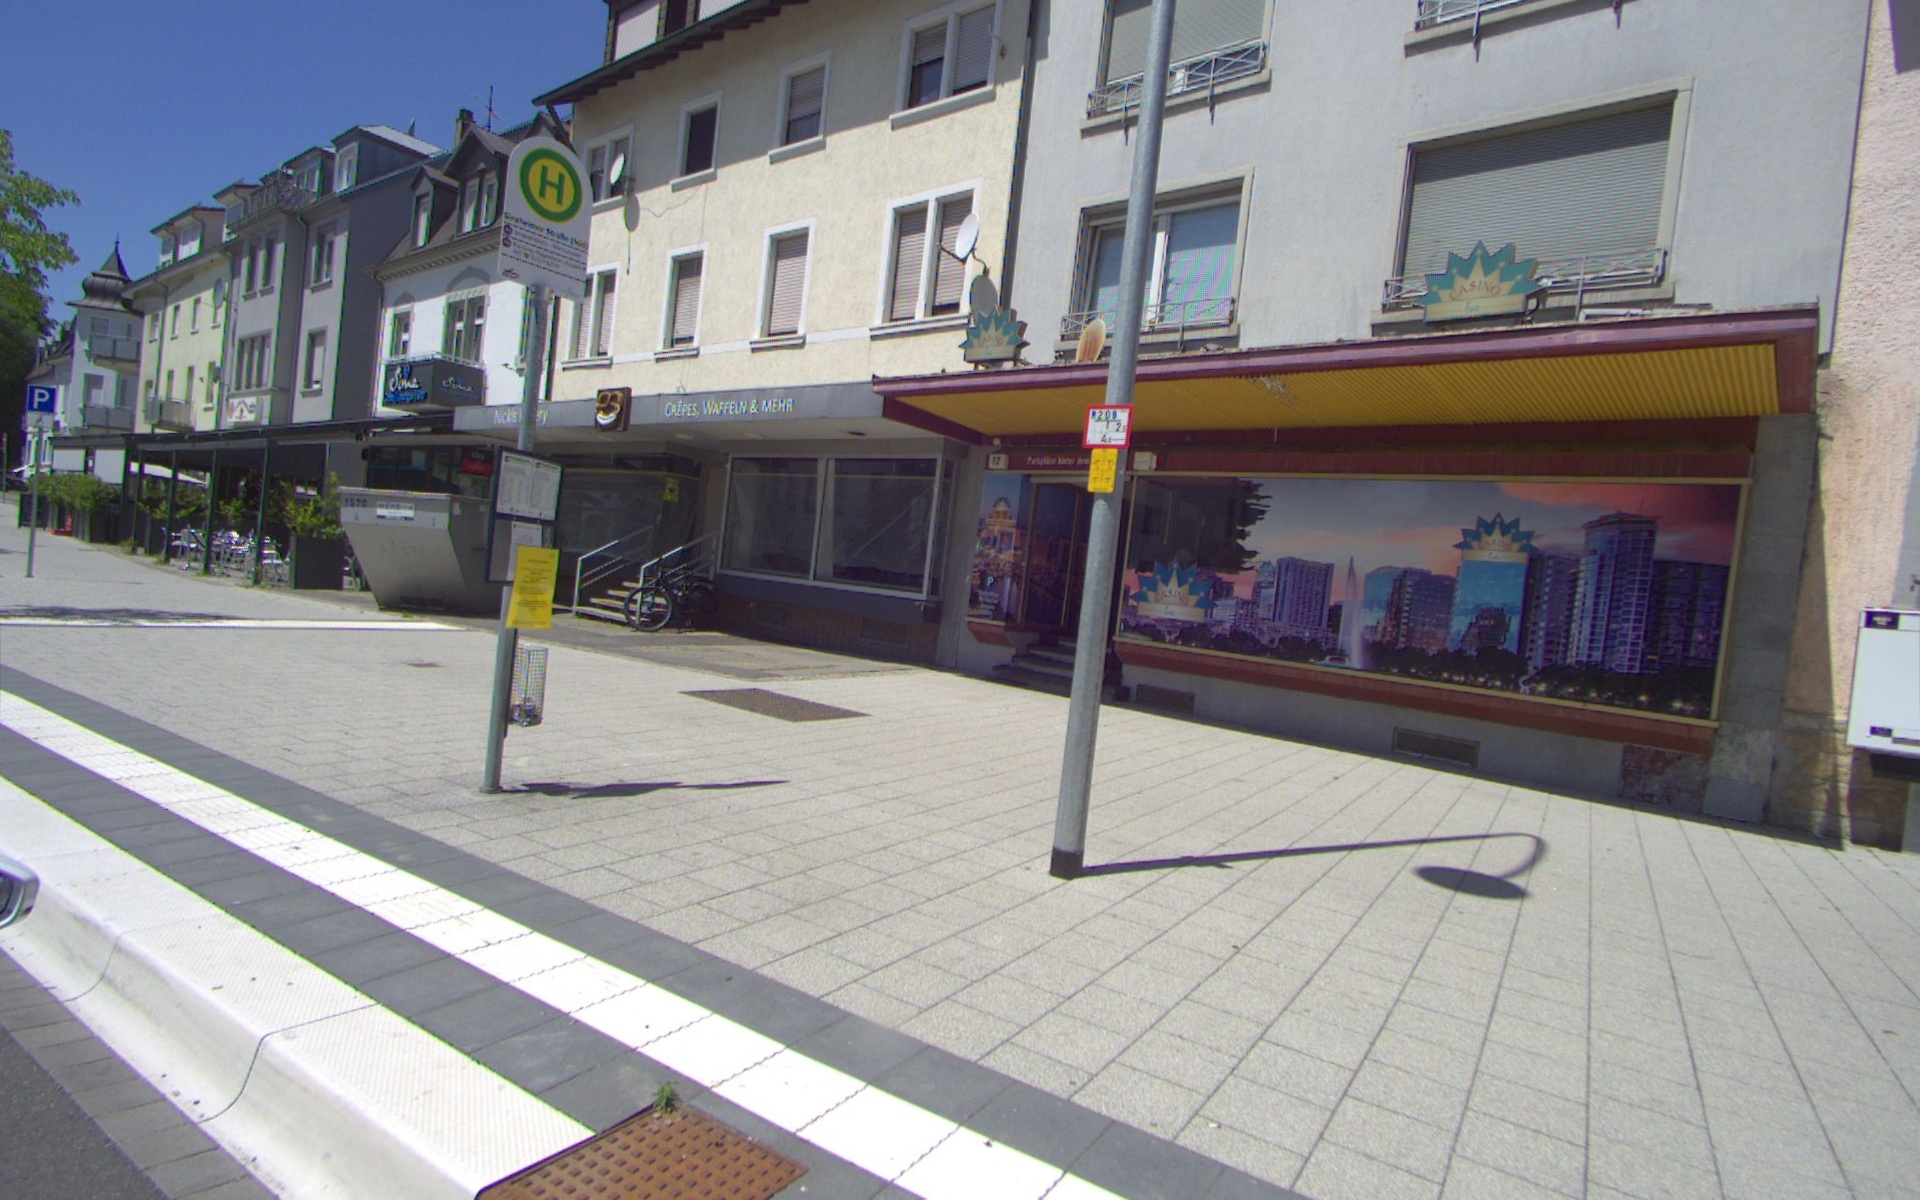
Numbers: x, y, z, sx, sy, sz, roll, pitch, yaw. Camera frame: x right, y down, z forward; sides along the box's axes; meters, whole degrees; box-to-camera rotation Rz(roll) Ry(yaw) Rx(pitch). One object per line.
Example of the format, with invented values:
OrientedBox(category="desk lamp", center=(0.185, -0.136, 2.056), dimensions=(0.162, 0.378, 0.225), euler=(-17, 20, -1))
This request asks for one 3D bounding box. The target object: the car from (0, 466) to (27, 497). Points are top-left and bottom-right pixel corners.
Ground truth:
OrientedBox(category="car", center=(-60.604, -7.601, 62.102), dimensions=(1.829, 1.736, 4.073), euler=(7, -1, 39))

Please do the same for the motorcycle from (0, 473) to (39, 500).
OrientedBox(category="motorcycle", center=(-57.163, -6.888, 60.584), dimensions=(0.844, 1.291, 2.374), euler=(9, 1, 40))

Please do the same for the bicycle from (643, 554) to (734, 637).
OrientedBox(category="bicycle", center=(-4.437, -0.060, 16.474), dimensions=(1.265, 1.198, 0.410), euler=(8, -1, -41))

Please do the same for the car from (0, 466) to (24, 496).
OrientedBox(category="car", center=(-62.243, -7.816, 63.720), dimensions=(1.829, 1.736, 4.073), euler=(7, -1, 39))
